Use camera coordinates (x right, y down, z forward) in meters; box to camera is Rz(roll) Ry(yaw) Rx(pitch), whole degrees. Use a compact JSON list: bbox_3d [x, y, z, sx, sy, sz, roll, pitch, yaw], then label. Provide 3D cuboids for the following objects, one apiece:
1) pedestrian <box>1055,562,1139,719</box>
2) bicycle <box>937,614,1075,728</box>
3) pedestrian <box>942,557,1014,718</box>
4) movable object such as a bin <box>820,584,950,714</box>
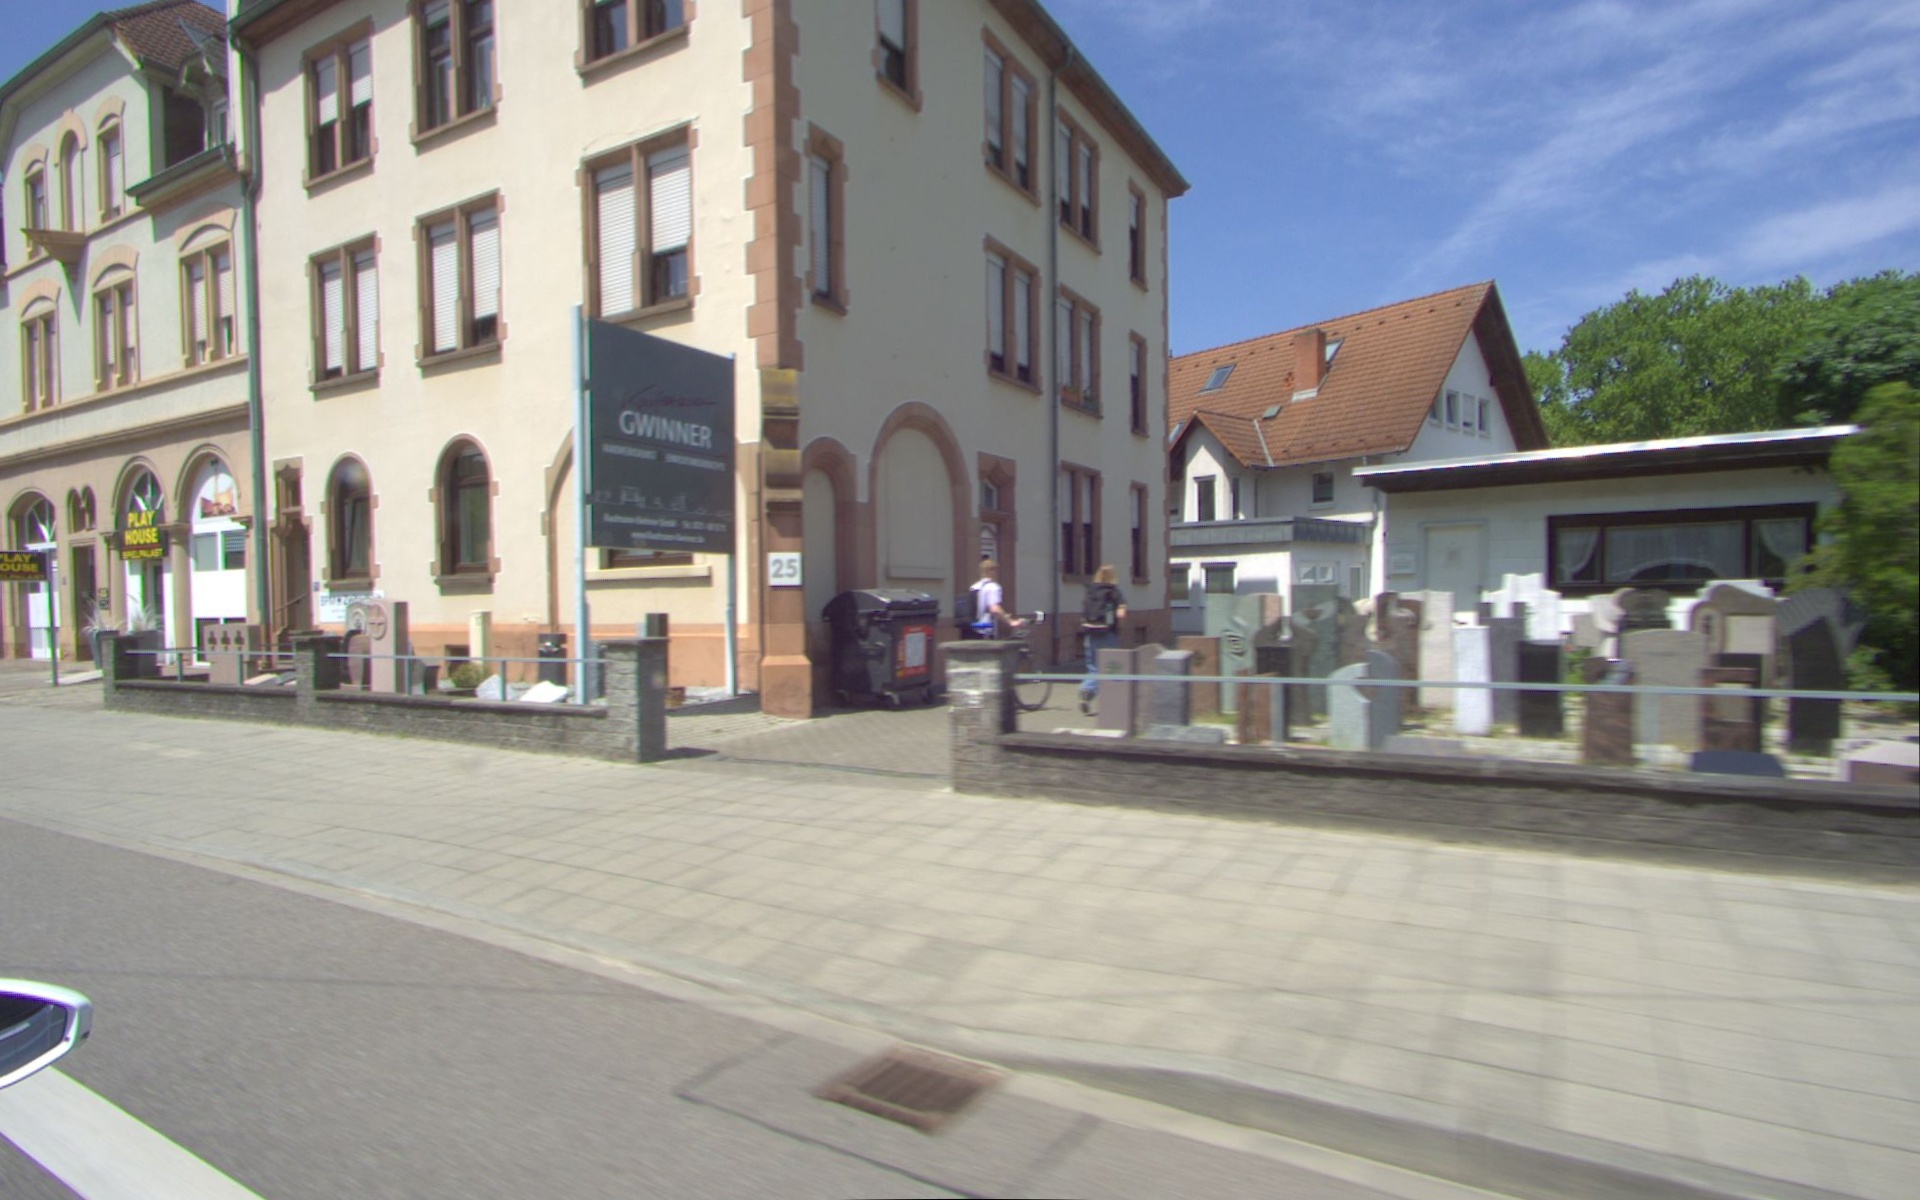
[{"bbox_3d":[1.566,0.445,11.391,0.582,1.713,0.820,0,1,42],"label":"pedestrian"},{"bbox_3d":[0.561,0.757,11.416,0.583,1.142,1.793,0,1,40],"label":"bicycle"},{"bbox_3d":[0.210,0.421,11.613,0.497,1.796,0.684,0,1,42],"label":"pedestrian"},{"bbox_3d":[-0.930,0.583,12.681,1.031,1.519,1.326,0,2,32],"label":"movable object such as a bin"}]
